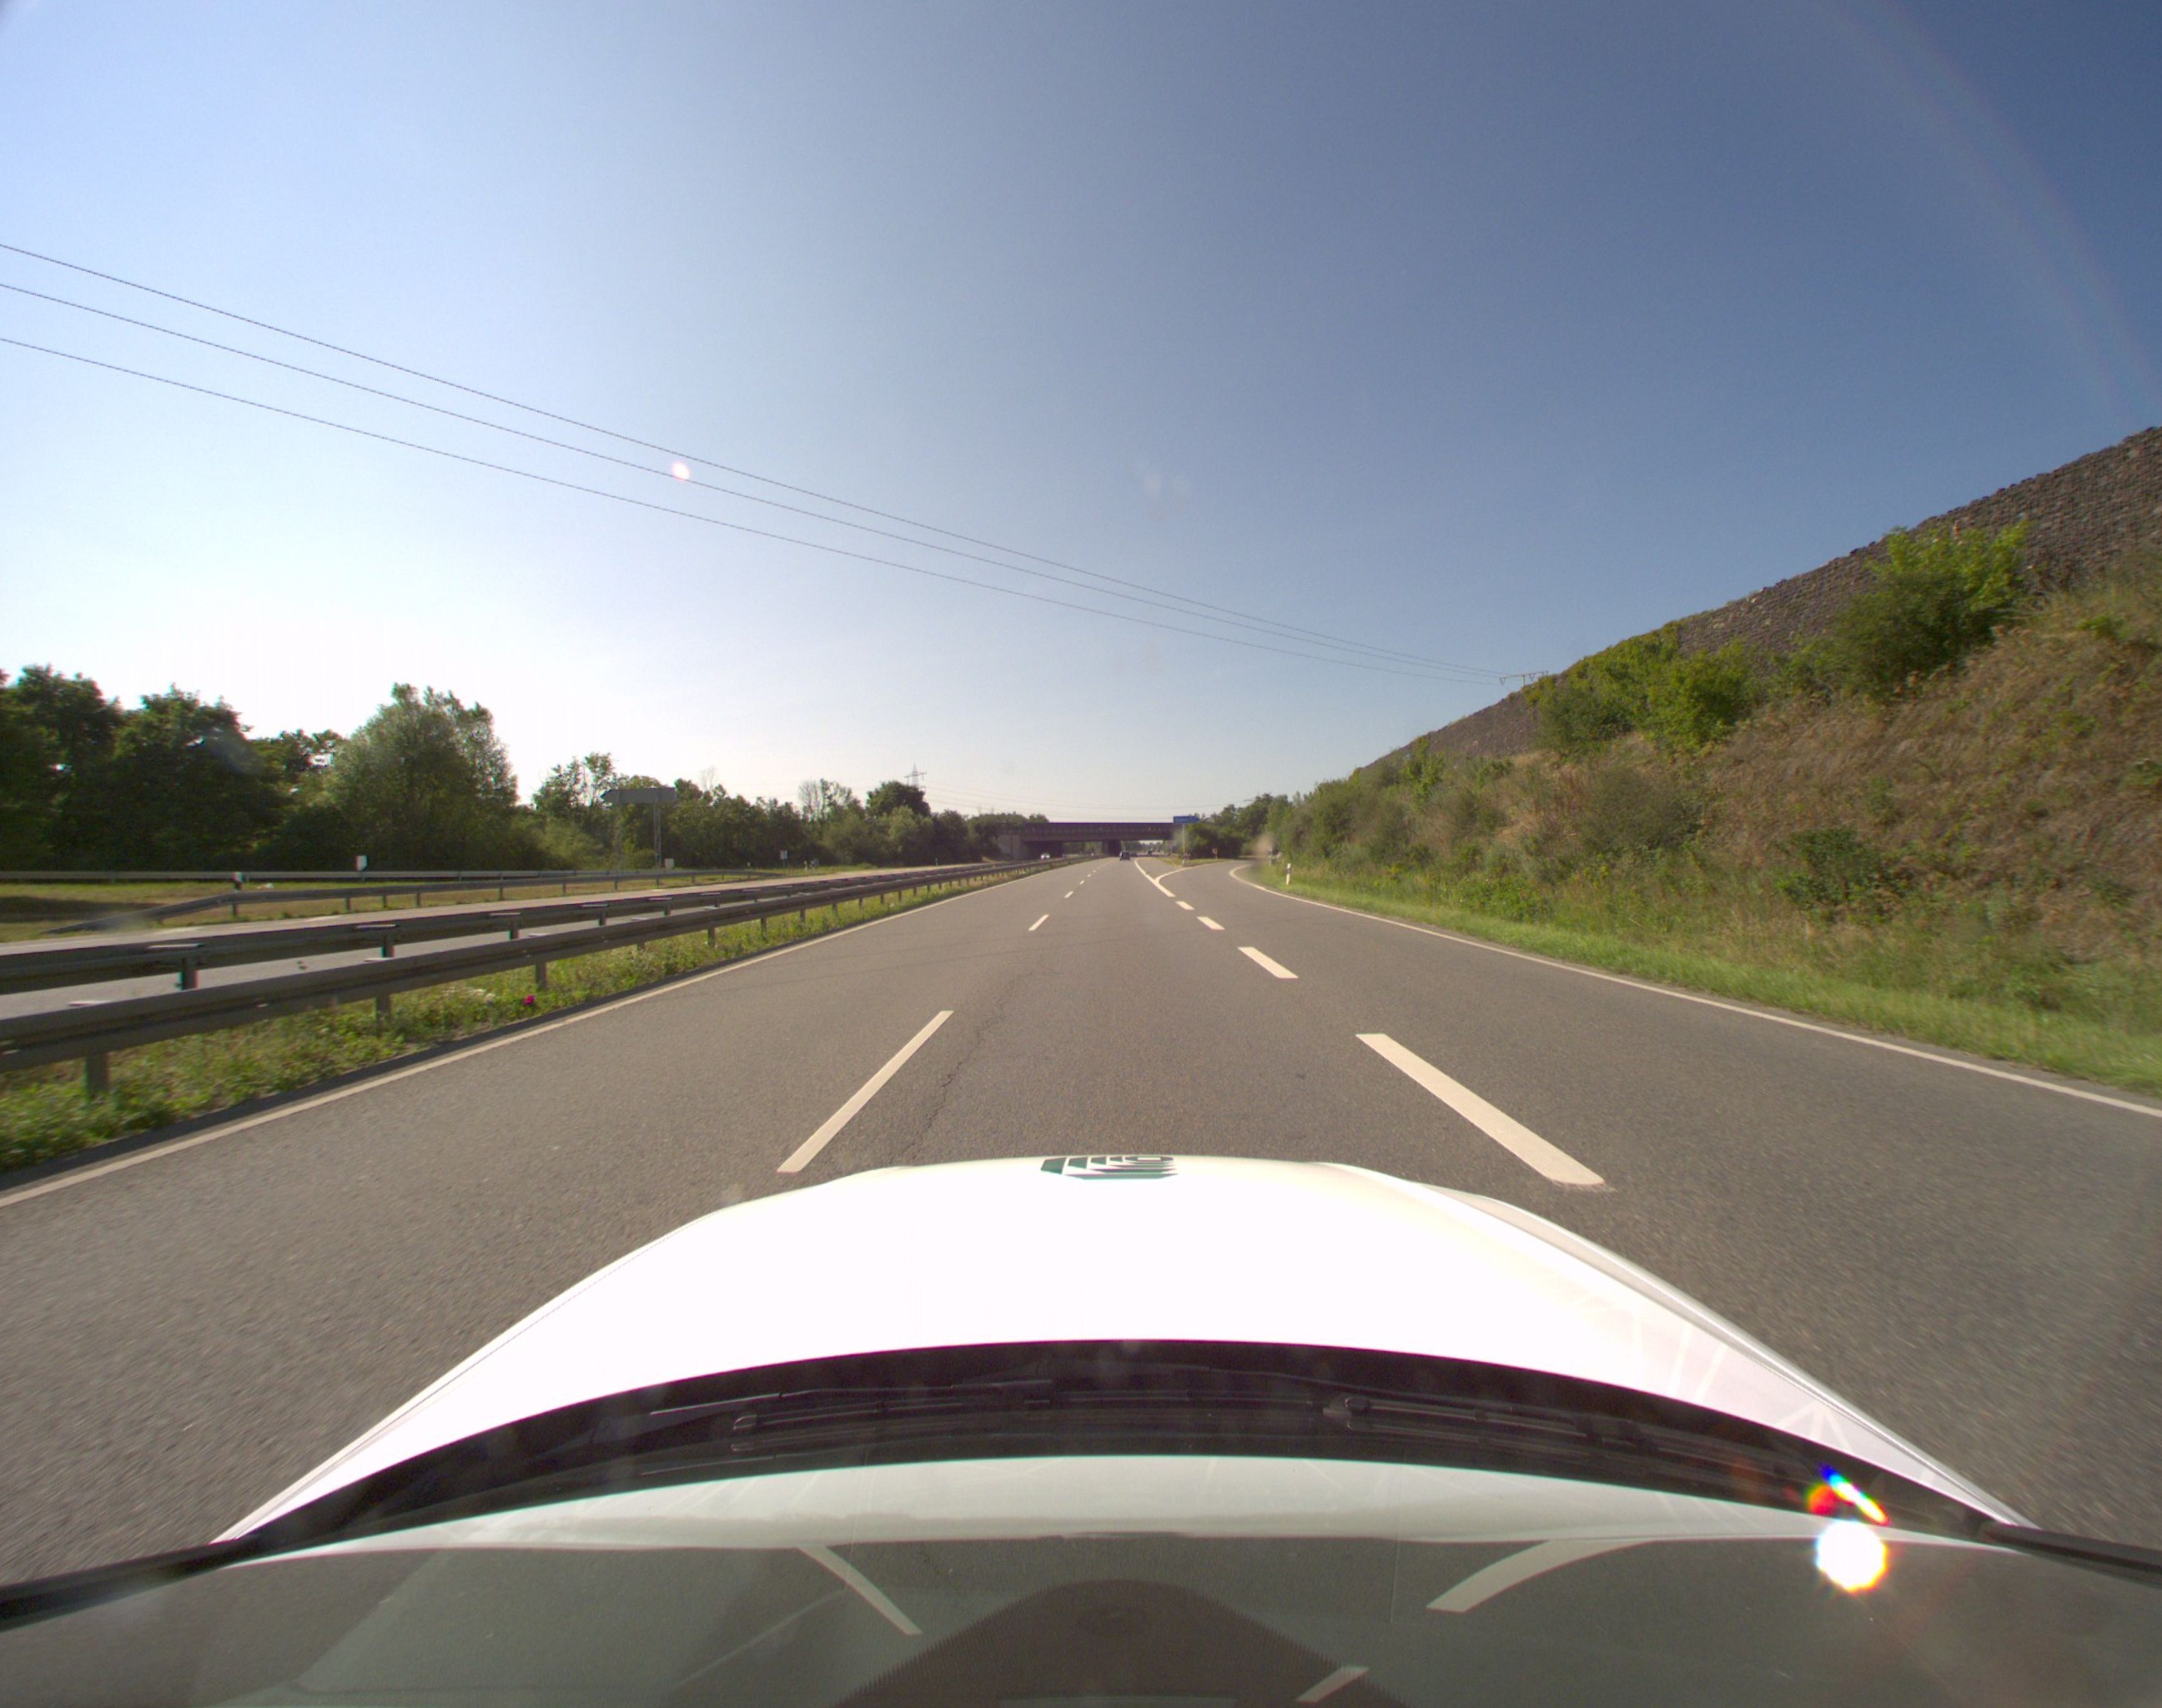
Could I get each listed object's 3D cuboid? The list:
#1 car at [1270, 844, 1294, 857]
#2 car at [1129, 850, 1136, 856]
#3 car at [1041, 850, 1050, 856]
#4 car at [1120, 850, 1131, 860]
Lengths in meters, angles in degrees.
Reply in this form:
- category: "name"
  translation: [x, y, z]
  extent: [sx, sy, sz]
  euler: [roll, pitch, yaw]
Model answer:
- category: "car"
  translation: [27.689, -0.514, 112.089]
  extent: [1.779, 1.665, 4.025]
  euler: [2, 1, 35]
- category: "car"
  translation: [13.154, -0.254, 207.075]
  extent: [1.841, 1.644, 4.005]
  euler: [-1, 0, 4]
- category: "car"
  translation: [-7.930, -0.263, 182.032]
  extent: [1.667, 1.409, 3.766]
  euler: [0, 1, 3]
- category: "car"
  translation: [7.691, 0.165, 141.759]
  extent: [1.841, 1.644, 4.005]
  euler: [-1, 0, 4]
